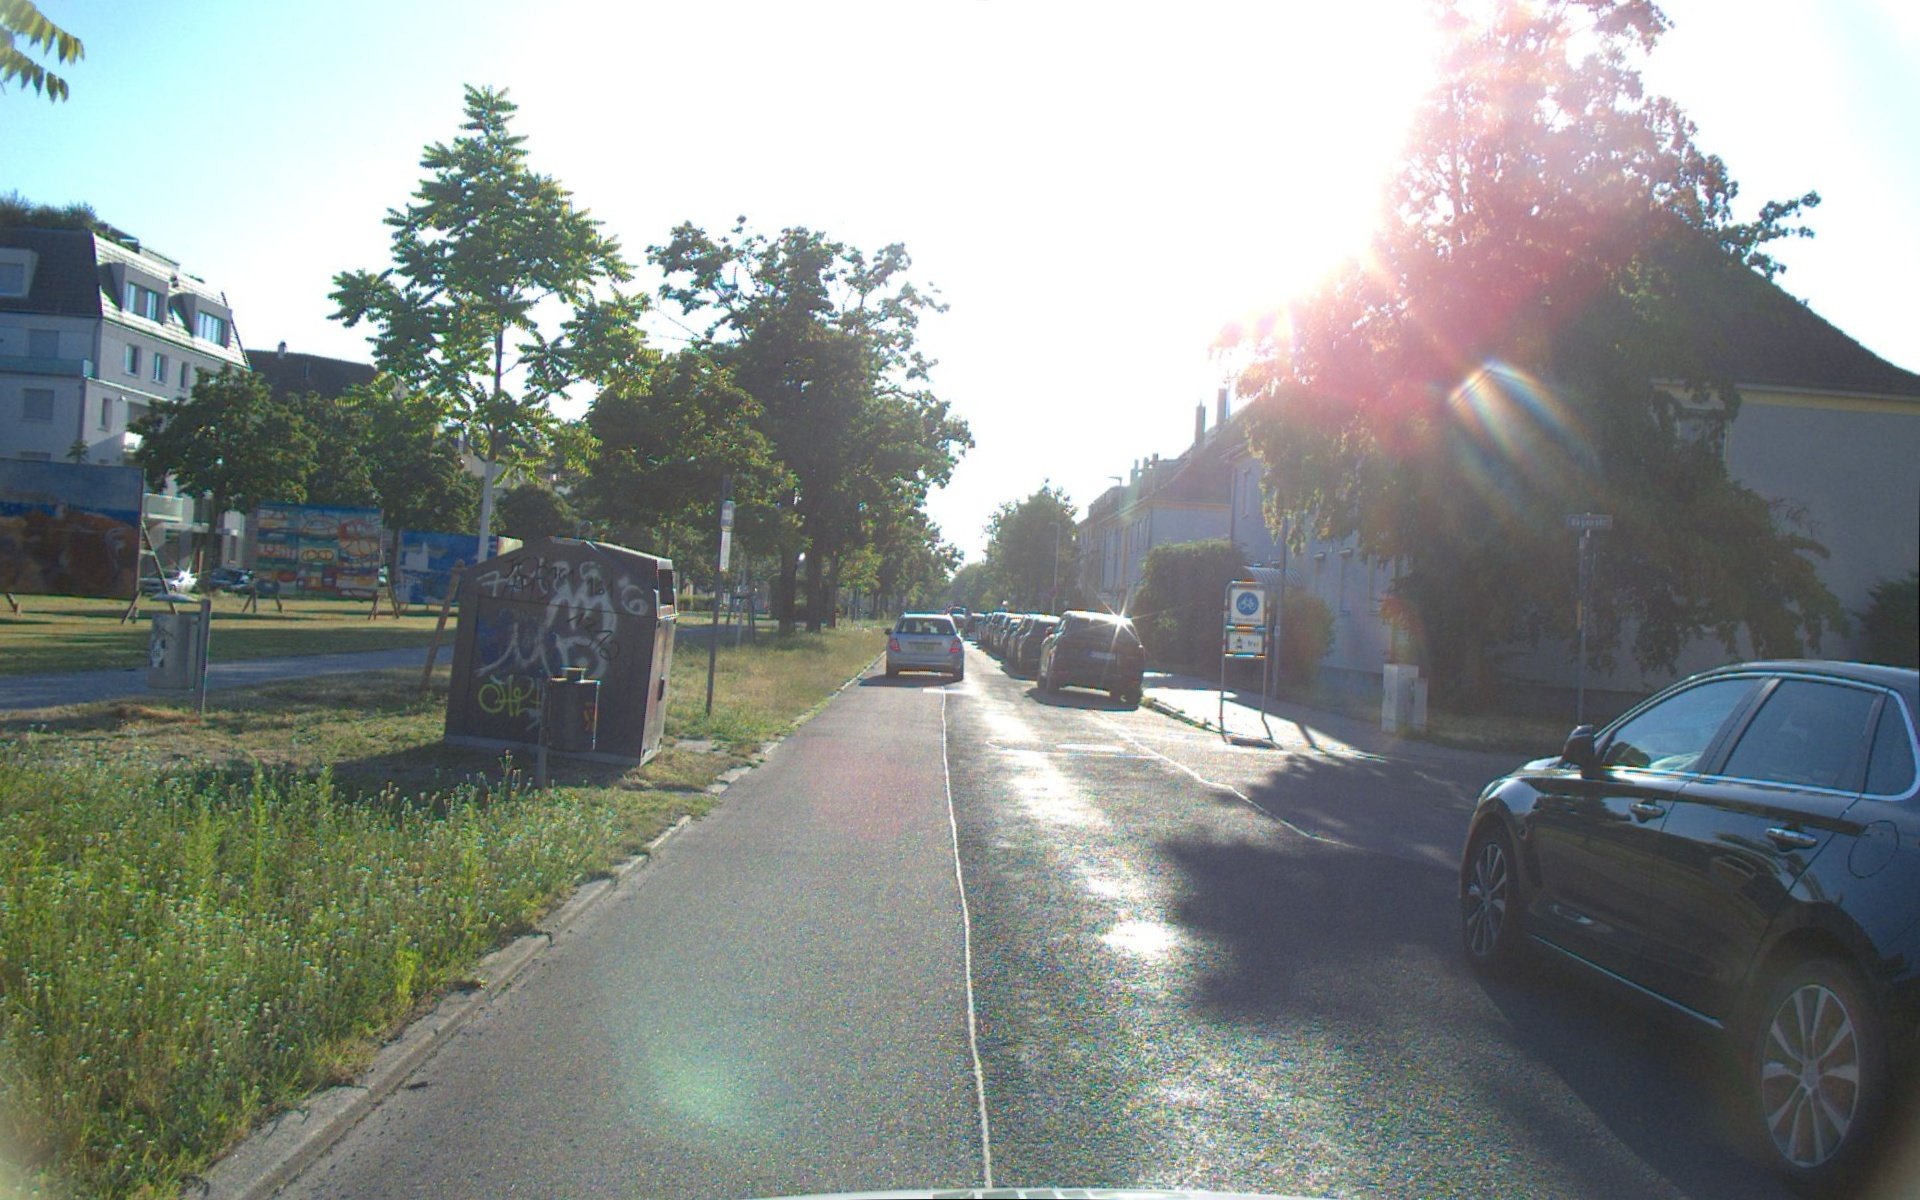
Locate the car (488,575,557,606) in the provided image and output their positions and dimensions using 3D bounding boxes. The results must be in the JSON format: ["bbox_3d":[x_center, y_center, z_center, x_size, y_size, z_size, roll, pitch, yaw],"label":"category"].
[{"bbox_3d":[-43.142,-0.932,163.133,6.231,2.767,1.982,3,-1,-32],"label":"car"}]

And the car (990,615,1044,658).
[{"bbox_3d":[2.282,1.467,67.260,1.691,1.588,4.413,4,-1,-4],"label":"car"}]

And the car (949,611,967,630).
[{"bbox_3d":[-0.227,2.368,190.760,1.948,2.059,3.999,3,-1,0],"label":"car"}]

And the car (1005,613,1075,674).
[{"bbox_3d":[2.456,1.310,51.698,1.817,1.686,4.819,4,0,0],"label":"car"}]

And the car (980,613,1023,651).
[{"bbox_3d":[1.954,1.520,78.421,1.741,1.672,4.755,3,-1,-1],"label":"car"}]

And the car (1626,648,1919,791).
[{"bbox_3d":[11.012,1.535,20.438,4.749,1.512,2.001,4,-4,-2],"label":"car"}]

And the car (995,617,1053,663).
[{"bbox_3d":[2.351,1.463,62.088,1.953,1.487,4.561,4,-1,1],"label":"car"}]

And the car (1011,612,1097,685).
[{"bbox_3d":[2.566,1.310,46.175,1.895,1.750,4.620,6,0,-1],"label":"car"}]

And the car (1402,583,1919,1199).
[{"bbox_3d":[3.203,0.893,5.949,1.787,1.587,4.621,9,0,0],"label":"car"}]

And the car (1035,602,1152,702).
[{"bbox_3d":[2.693,1.057,34.482,1.796,1.761,5.030,5,-1,-1],"label":"car"}]

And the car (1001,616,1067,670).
[{"bbox_3d":[2.518,1.468,57.140,1.694,1.574,4.205,7,-1,-3],"label":"car"}]

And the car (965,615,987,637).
[{"bbox_3d":[1.276,2.085,132.452,1.686,1.625,3.999,2,-1,0],"label":"car"}]

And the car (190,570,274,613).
[{"bbox_3d":[-34.024,-0.361,77.457,1.889,1.860,4.690,-1,-1,-1],"label":"car"}]

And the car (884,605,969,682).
[{"bbox_3d":[-0.722,0.945,37.534,1.786,1.594,4.000,2,0,0],"label":"car"}]
